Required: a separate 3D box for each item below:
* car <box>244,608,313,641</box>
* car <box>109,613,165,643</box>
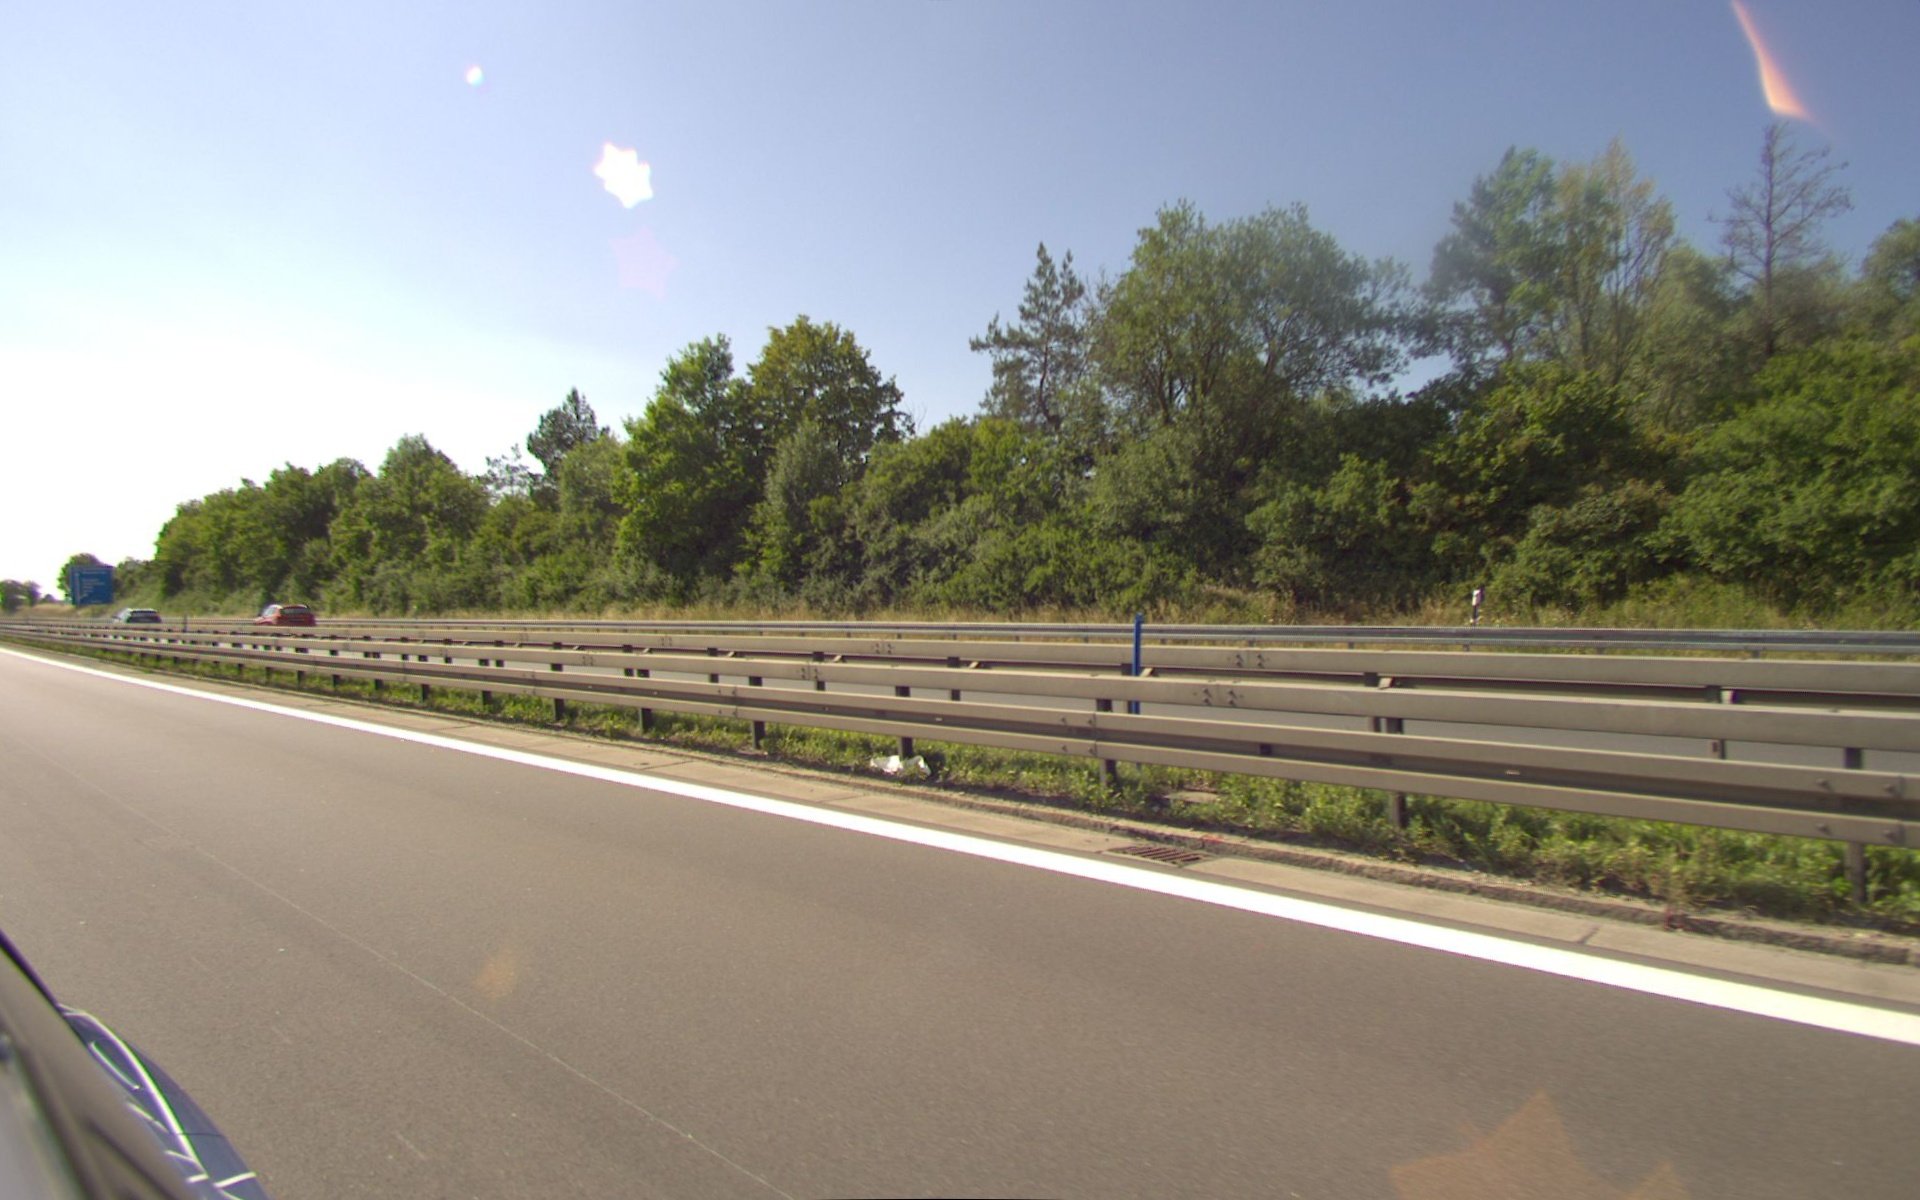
[{"bbox_3d":[-32.643,1.160,48.427,4.537,1.504,1.632,-1,0,41],"label":"car"},{"bbox_3d":[-45.115,1.523,55.453,4.537,1.504,1.632,-1,0,41],"label":"car"}]
